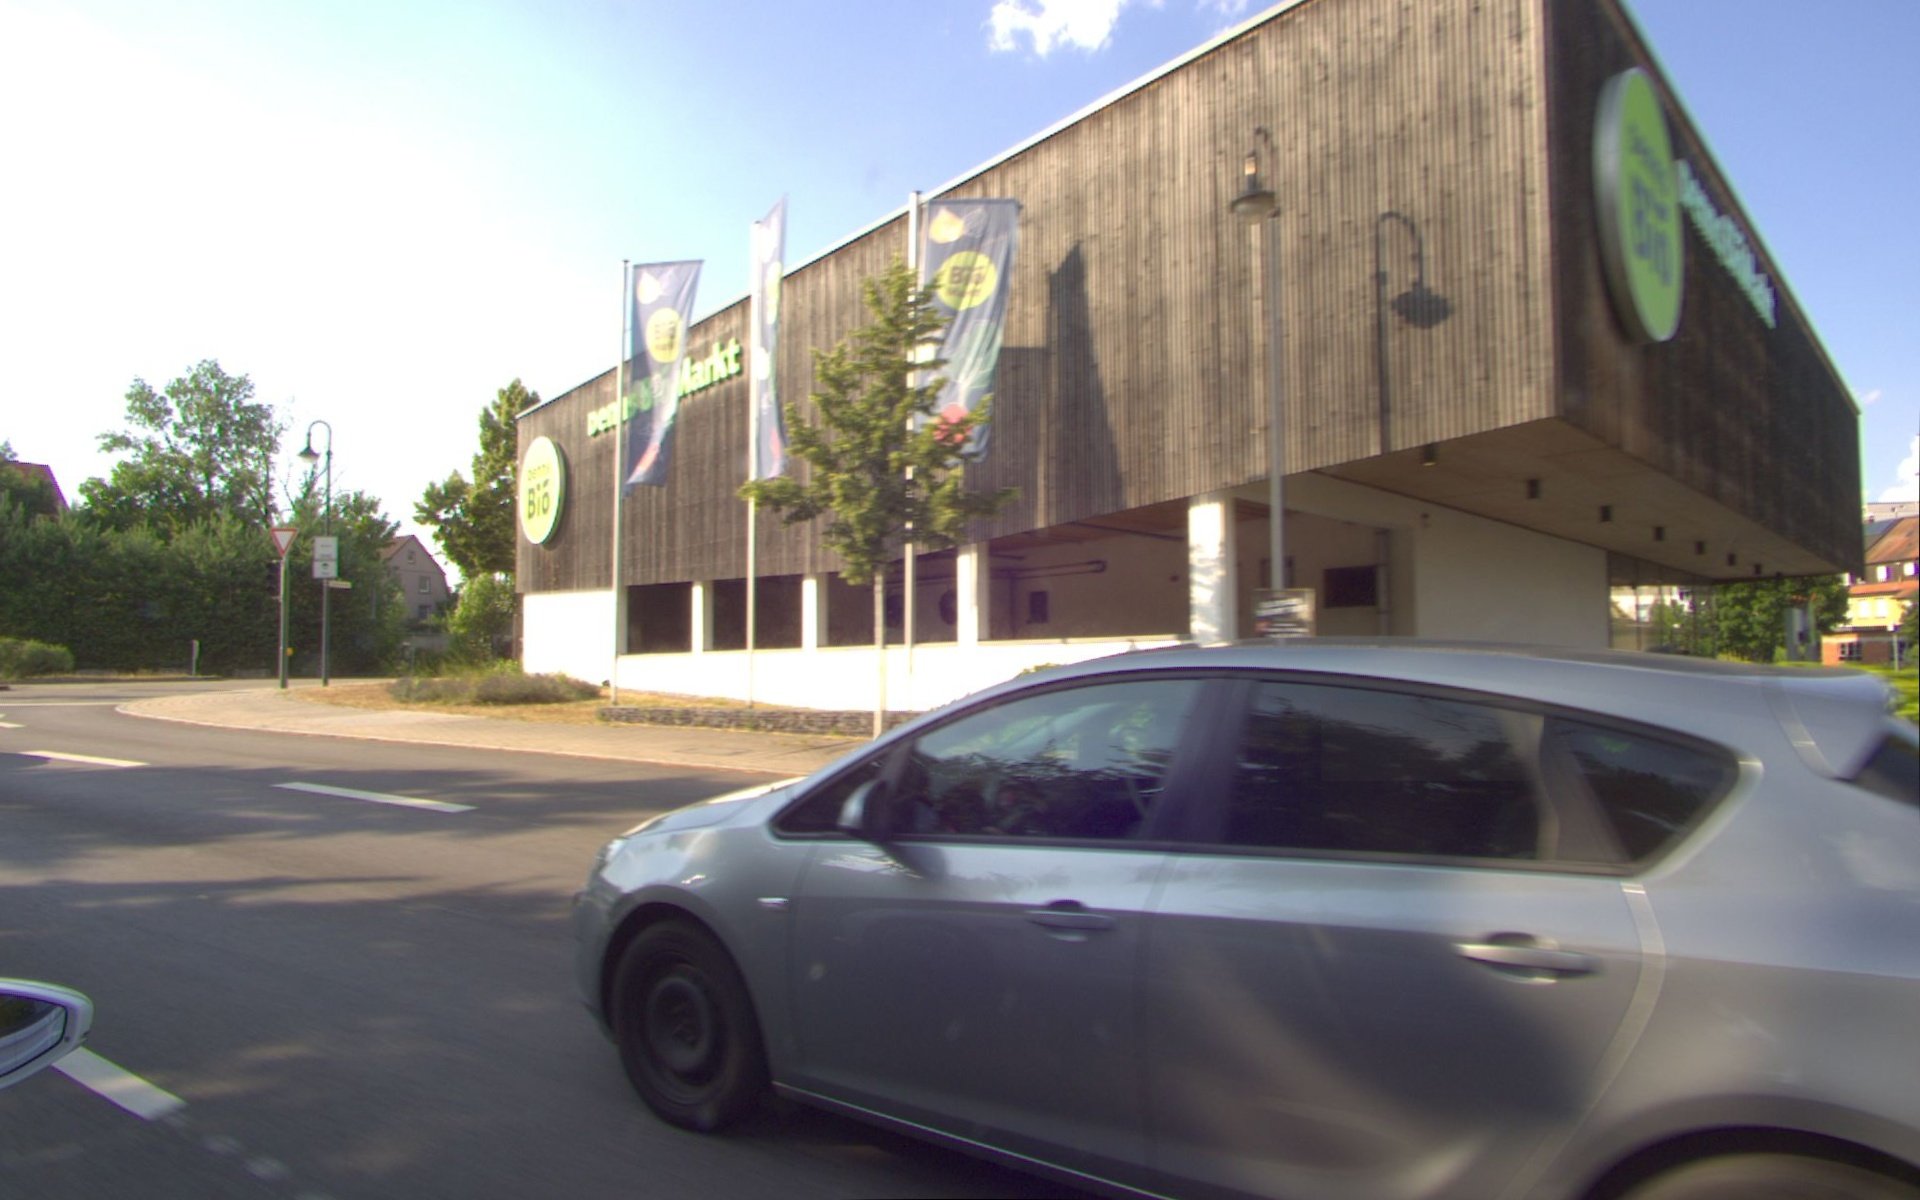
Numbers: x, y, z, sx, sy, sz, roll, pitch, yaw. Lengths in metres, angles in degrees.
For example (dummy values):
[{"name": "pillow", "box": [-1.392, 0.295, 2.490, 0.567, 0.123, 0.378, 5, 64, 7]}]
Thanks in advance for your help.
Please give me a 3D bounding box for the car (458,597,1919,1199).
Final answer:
[{"name": "car", "box": [0.496, 0.792, 3.086, 4.245, 1.509, 1.718, -1, -2, 32]}]
